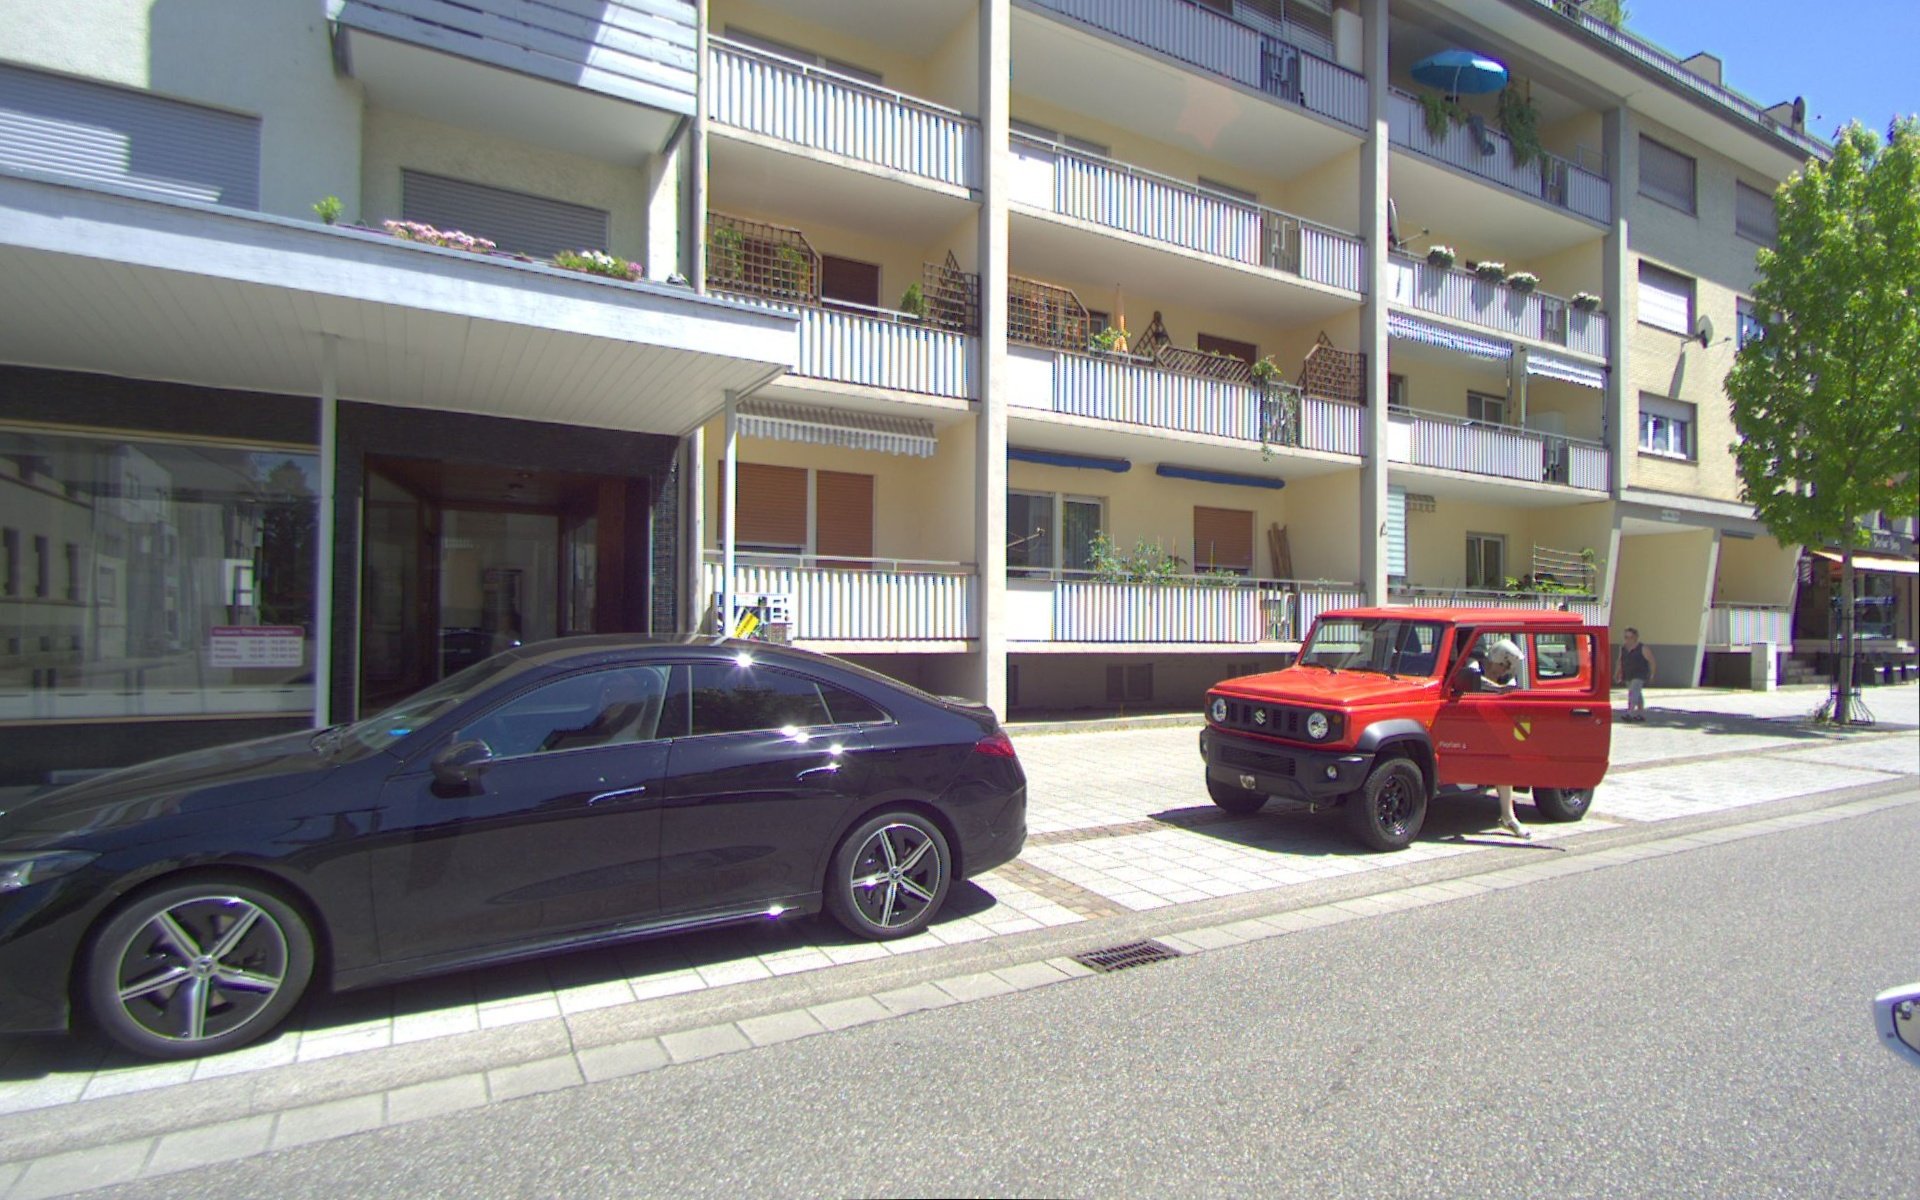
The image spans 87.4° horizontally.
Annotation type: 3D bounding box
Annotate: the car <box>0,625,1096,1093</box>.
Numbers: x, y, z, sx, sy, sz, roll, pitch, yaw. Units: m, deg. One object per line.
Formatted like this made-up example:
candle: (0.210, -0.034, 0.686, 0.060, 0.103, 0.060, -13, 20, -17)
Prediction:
car: (-1.885, 0.892, 5.047, 4.988, 1.436, 1.887, 1, 1, -30)

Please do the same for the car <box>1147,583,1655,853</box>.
car: (3.673, 0.777, 8.218, 4.053, 1.725, 1.744, 1, 1, -30)

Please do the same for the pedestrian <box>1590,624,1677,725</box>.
pedestrian: (10.669, 1.149, 15.912, 1.084, 1.513, 0.694, 1, 2, -30)

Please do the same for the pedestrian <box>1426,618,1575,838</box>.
pedestrian: (4.083, 0.918, 7.612, 0.720, 1.554, 0.722, 1, -1, -28)
